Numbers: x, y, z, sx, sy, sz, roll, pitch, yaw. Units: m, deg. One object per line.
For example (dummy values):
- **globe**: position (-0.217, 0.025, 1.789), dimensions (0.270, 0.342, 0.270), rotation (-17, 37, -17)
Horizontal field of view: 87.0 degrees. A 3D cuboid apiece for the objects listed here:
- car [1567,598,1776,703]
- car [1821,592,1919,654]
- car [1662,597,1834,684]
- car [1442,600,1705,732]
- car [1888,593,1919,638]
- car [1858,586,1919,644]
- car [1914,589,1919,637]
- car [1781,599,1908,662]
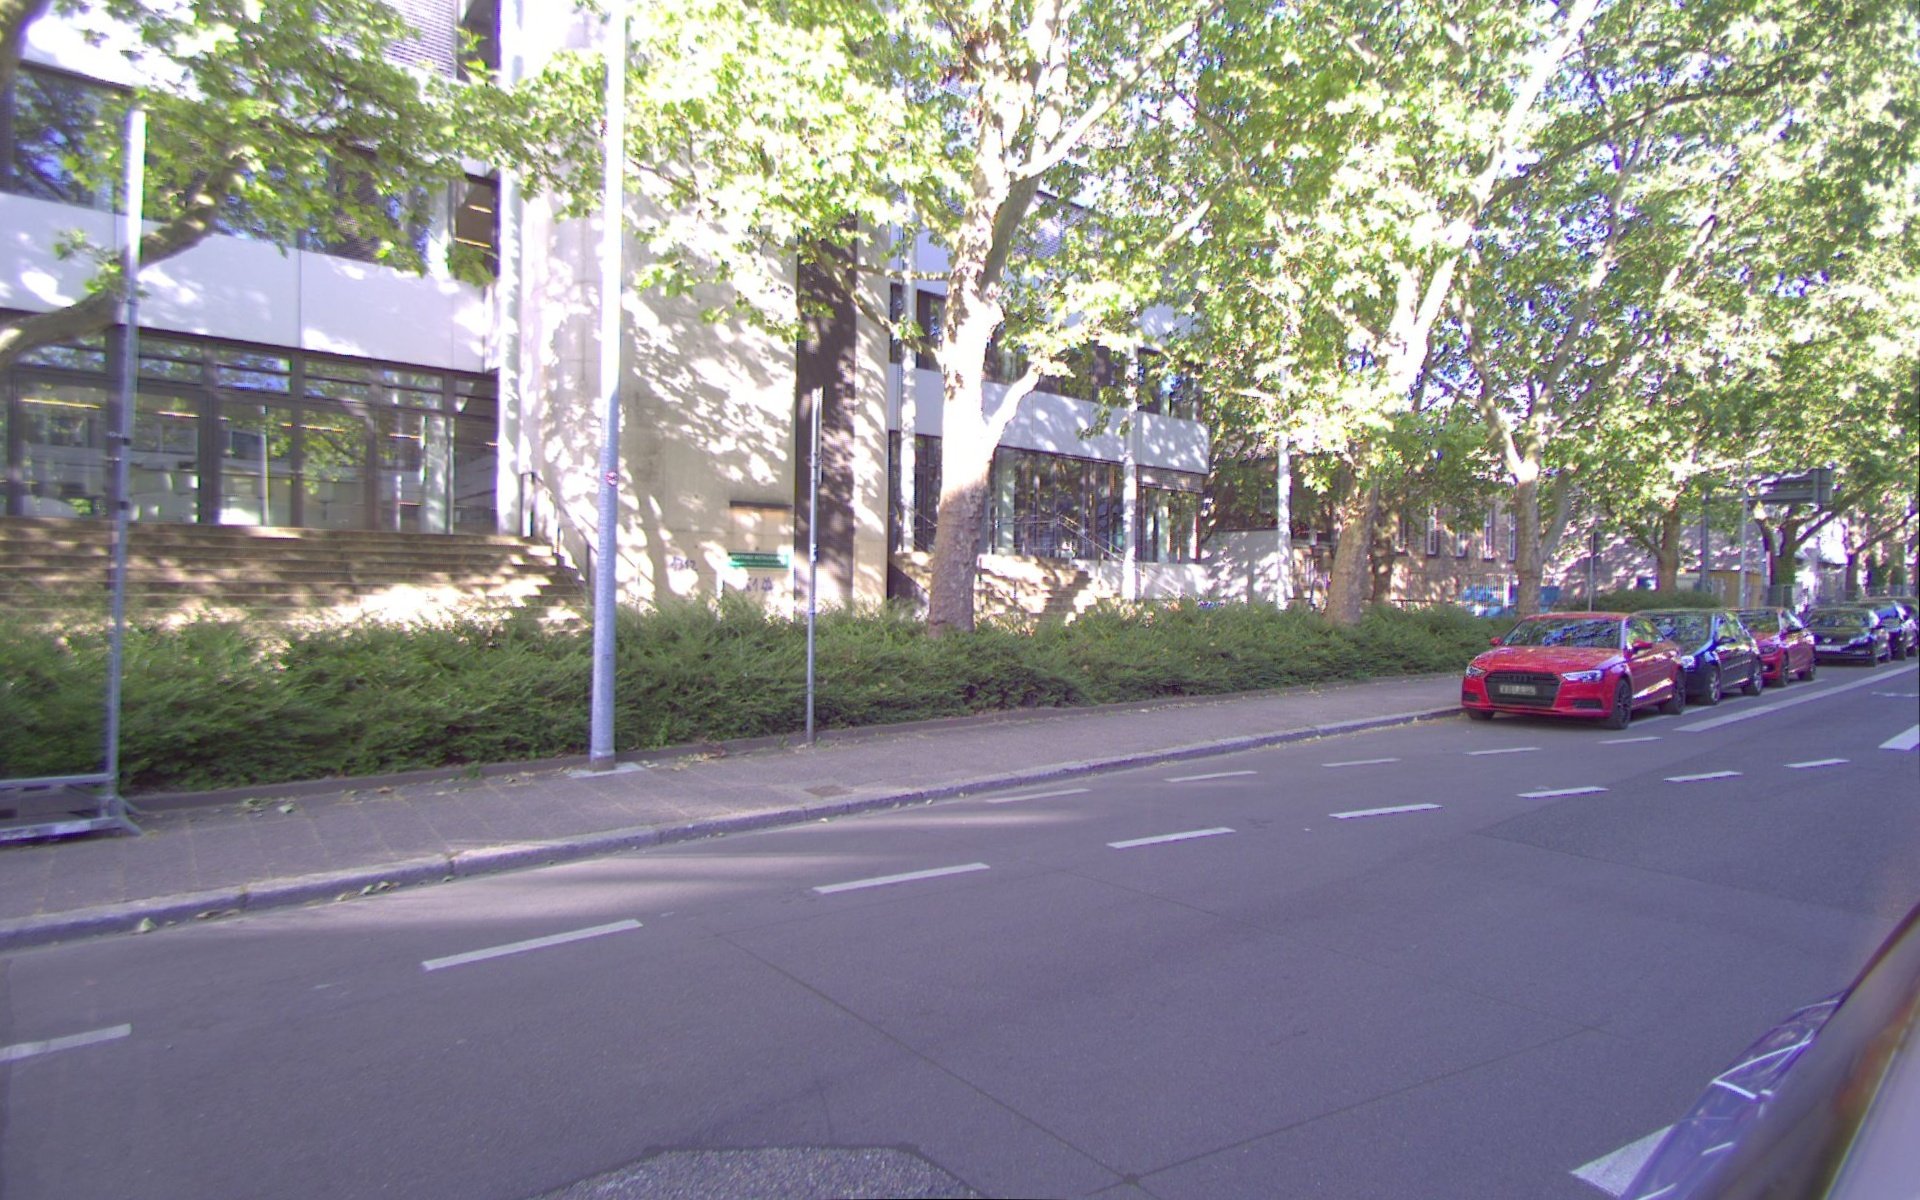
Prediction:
- **car**: position (11.692, 0.729, 16.568), dimensions (3.581, 1.478, 1.997), rotation (-1, 0, -41)
- **car**: position (26.545, 0.606, 29.192), dimensions (4.070, 1.621, 1.997), rotation (-1, 0, -41)
- **car**: position (15.666, 0.716, 20.063), dimensions (3.762, 1.517, 1.997), rotation (-1, 0, -41)
- **car**: position (8.274, 0.751, 13.532), dimensions (3.930, 1.443, 1.906), rotation (-1, 1, -41)
- **car**: position (36.029, 0.539, 37.463), dimensions (4.070, 1.585, 1.997), rotation (-1, 0, -41)
- **car**: position (31.282, 0.447, 33.319), dimensions (4.493, 1.809, 1.997), rotation (-1, 0, -41)
- **car**: position (39.626, 0.482, 40.287), dimensions (3.930, 1.872, 1.997), rotation (-1, 0, -41)
- **car**: position (22.817, 0.719, 26.070), dimensions (3.527, 1.474, 1.997), rotation (-1, 0, -41)
